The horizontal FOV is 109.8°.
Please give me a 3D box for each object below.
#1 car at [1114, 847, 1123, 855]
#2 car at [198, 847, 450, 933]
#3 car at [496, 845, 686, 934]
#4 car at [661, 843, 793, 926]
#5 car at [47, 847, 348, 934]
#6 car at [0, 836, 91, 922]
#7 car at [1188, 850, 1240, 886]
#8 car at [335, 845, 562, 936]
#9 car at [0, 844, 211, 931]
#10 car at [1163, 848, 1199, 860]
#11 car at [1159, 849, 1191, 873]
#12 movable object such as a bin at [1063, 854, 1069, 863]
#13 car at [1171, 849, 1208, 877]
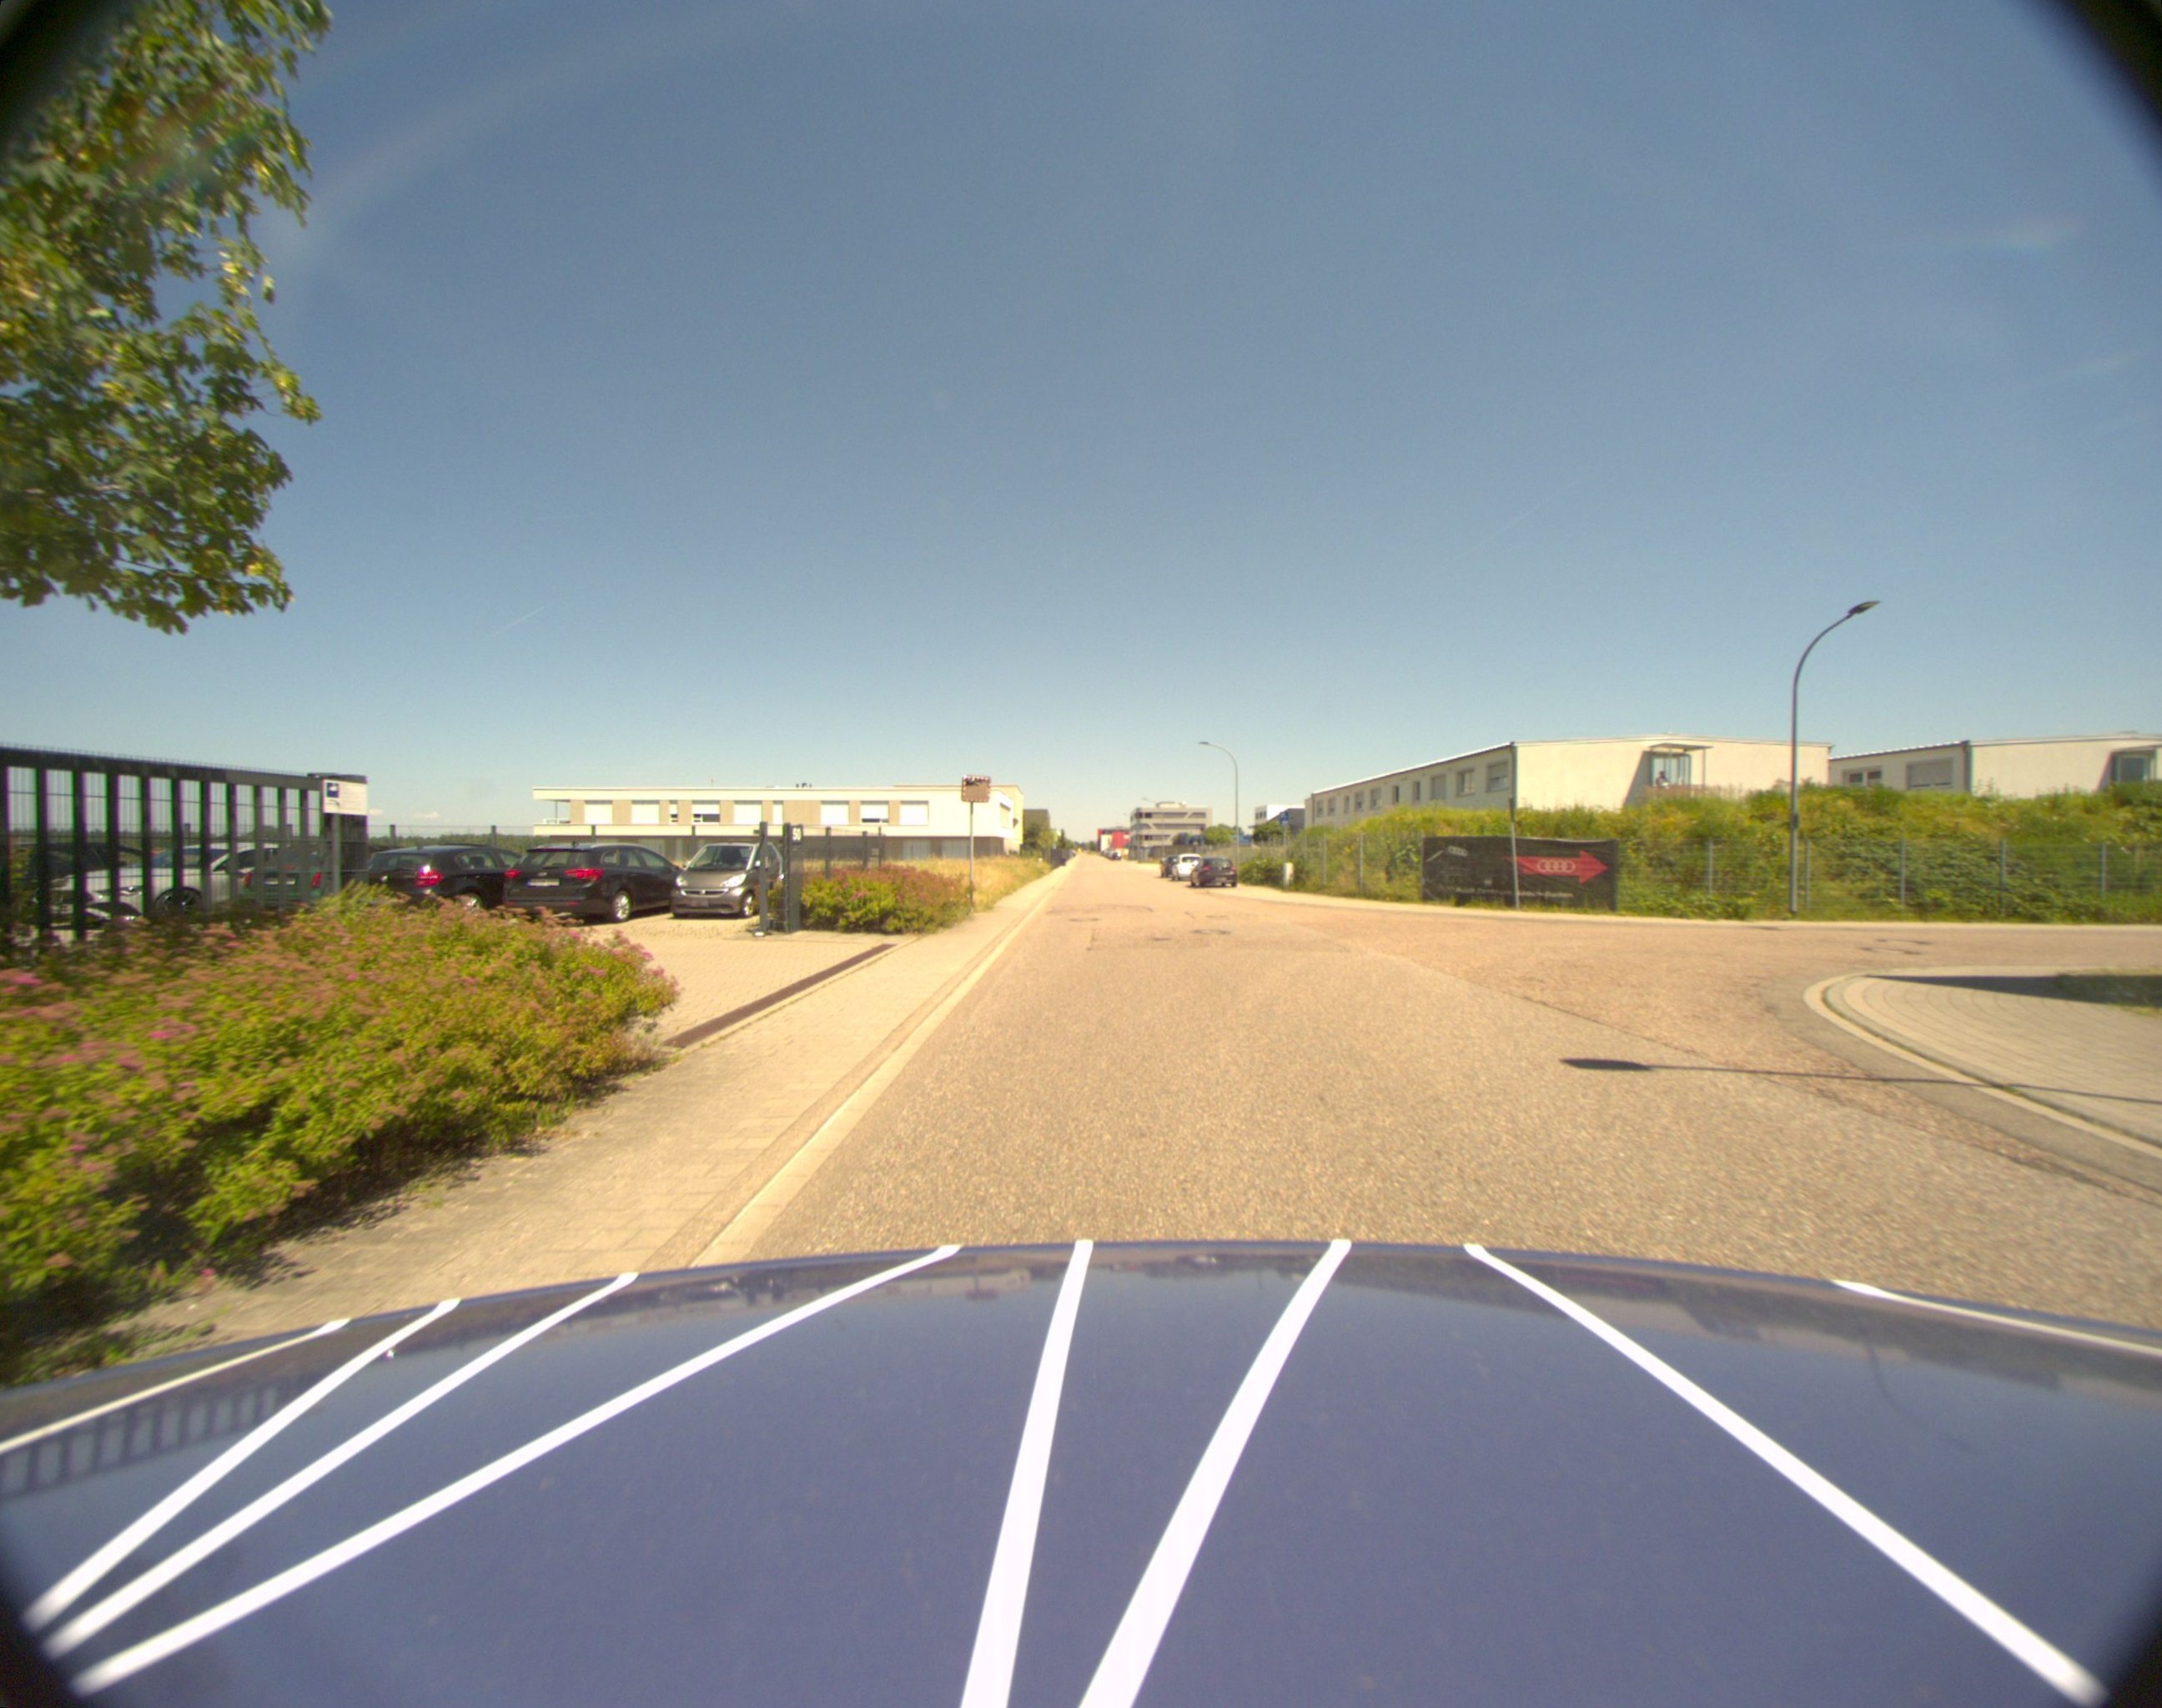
[{"bbox_3d":[7.206,-0.598,146.376,1.695,1.482,3.660,-2,1,1],"label":"car"},{"bbox_3d":[-14.106,0.597,14.448,1.461,1.404,3.331,1,1,-1],"label":"car"},{"bbox_3d":[-9.196,0.585,14.600,1.518,1.487,3.331,1,1,-1],"label":"car"},{"bbox_3d":[-7.253,0.563,15.815,1.470,1.565,2.661,1,1,0],"label":"car"},{"bbox_3d":[-16.215,0.581,14.252,1.518,1.389,3.539,1,1,-1],"label":"car"},{"bbox_3d":[-21.336,0.480,13.885,1.518,1.624,3.783,1,1,-1],"label":"car"},{"bbox_3d":[6.173,0.607,35.685,1.678,1.442,4.068,-3,1,0],"label":"car"},{"bbox_3d":[-11.693,0.585,14.347,1.518,1.487,3.331,1,1,-1],"label":"car"},{"bbox_3d":[-18.899,0.552,13.950,1.518,1.422,3.783,1,1,-1],"label":"car"},{"bbox_3d":[12.299,0.009,93.384,4.257,1.371,1.862,0,1,2],"label":"car"},{"bbox_3d":[6.303,0.453,51.293,1.678,1.521,3.909,-1,1,0],"label":"car"},{"bbox_3d":[-1.987,0.591,99.129,0.749,1.042,0.698,1,2,1],"label":"movable object such as a bin"},{"bbox_3d":[6.345,0.516,44.764,1.678,1.521,3.757,0,1,0],"label":"car"}]
